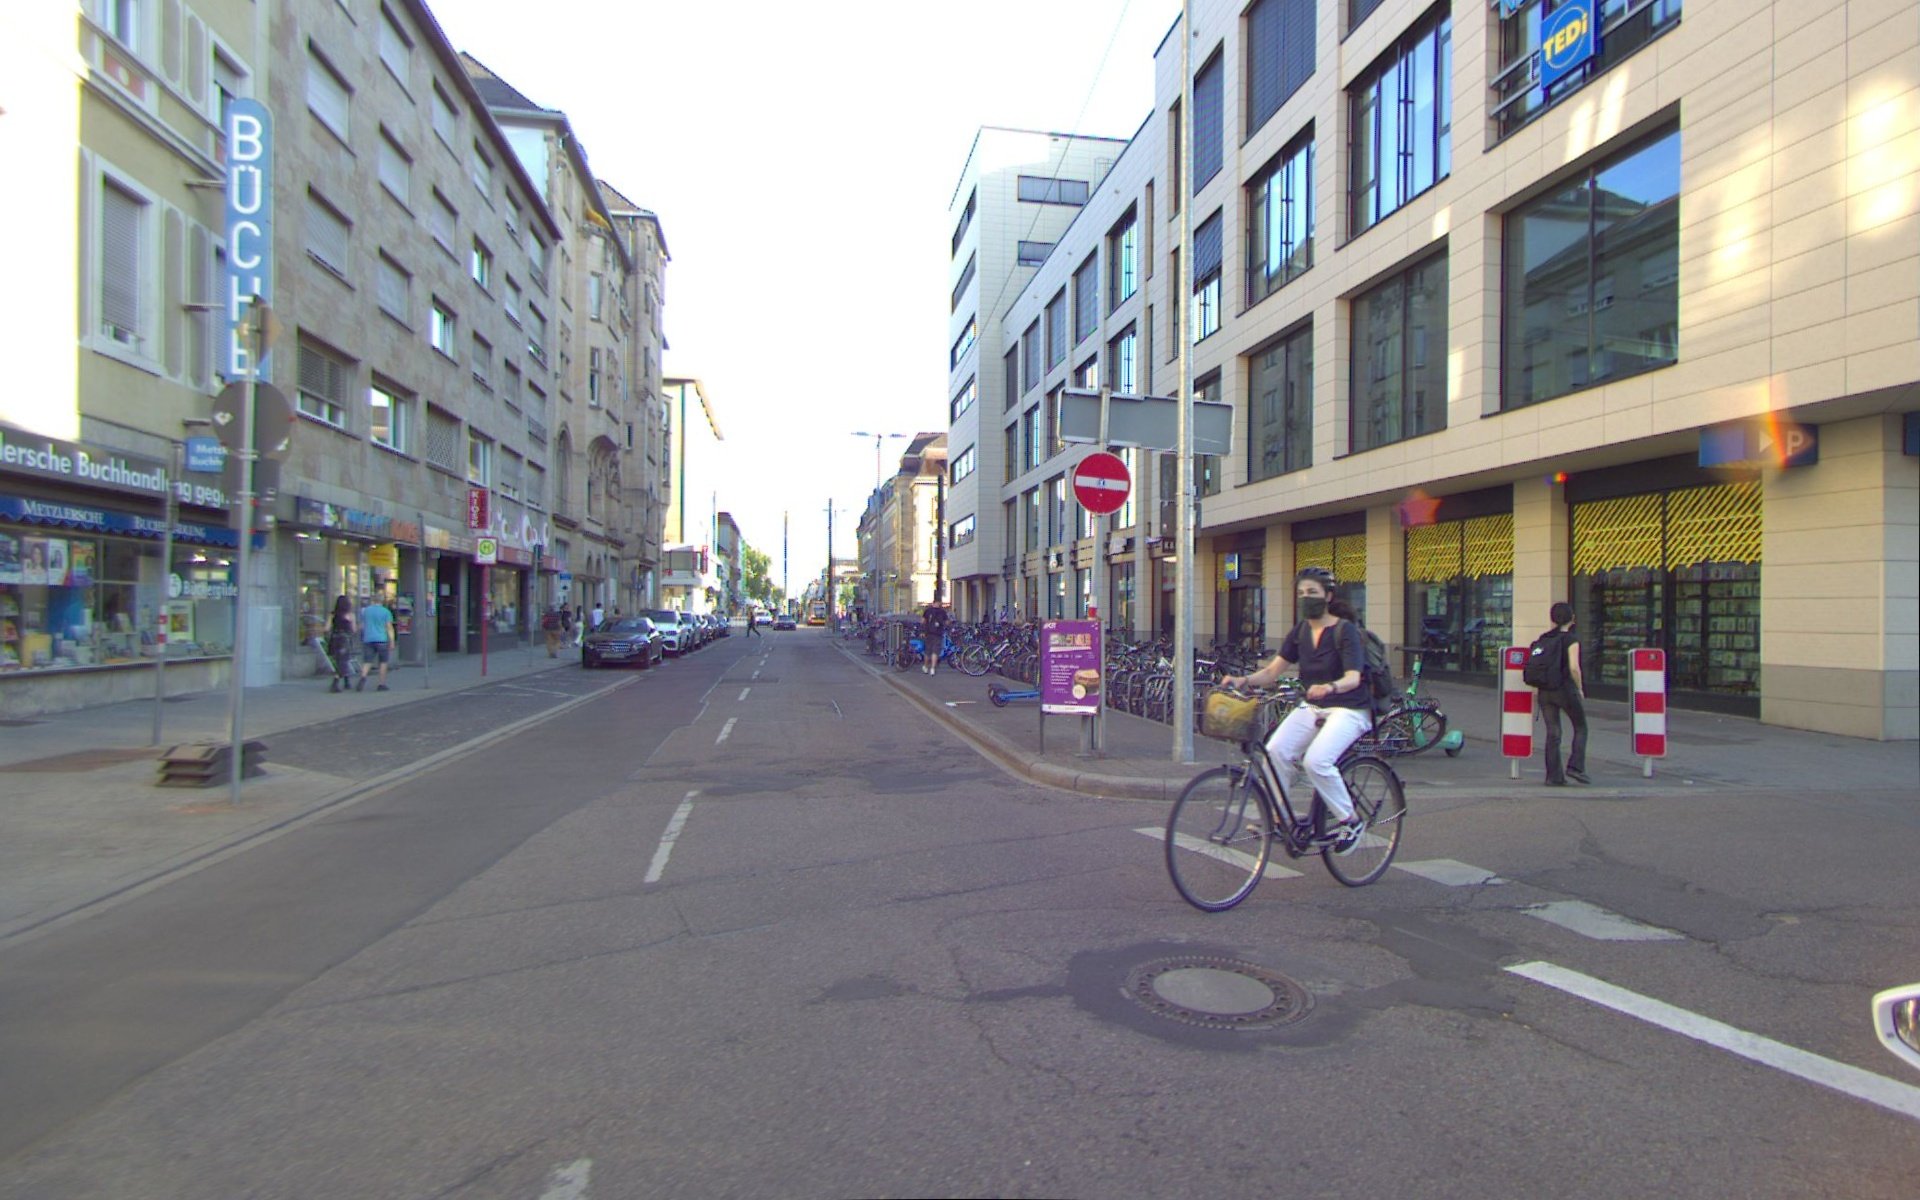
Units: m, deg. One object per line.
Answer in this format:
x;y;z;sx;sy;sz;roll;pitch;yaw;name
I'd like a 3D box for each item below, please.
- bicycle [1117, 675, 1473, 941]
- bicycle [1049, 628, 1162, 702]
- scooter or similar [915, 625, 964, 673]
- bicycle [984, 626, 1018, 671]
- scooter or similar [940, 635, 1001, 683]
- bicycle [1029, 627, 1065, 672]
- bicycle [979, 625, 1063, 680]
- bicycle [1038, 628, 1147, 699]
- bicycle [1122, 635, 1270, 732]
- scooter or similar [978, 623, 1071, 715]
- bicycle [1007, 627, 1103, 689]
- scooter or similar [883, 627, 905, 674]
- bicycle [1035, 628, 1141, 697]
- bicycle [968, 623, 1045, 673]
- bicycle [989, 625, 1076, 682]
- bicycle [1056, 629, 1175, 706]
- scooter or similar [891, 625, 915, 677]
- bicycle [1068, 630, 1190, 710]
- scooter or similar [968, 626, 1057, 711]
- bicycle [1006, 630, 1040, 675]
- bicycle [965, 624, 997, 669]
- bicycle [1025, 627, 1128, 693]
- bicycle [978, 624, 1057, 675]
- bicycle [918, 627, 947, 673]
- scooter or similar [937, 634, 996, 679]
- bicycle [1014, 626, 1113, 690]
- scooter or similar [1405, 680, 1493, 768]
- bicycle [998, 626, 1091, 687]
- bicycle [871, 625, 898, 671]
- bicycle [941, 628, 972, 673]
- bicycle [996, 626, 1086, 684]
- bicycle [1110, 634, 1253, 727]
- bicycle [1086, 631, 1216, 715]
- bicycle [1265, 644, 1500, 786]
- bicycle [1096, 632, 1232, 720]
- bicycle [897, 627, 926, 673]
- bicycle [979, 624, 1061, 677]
1.764;0.992;5.242;1.797;1.153;0.662;2;0;-26;bicycle
2.616;1.173;18.115;1.944;1.271;0.512;2;0;-12;bicycle
-0.548;1.335;27.201;1.248;1.259;0.387;1;0;-12;scooter or similar
1.227;1.440;30.341;0.504;1.271;1.974;1;-1;-12;bicycle
0.220;1.267;21.749;1.248;1.005;0.387;2;0;-12;scooter or similar
2.631;1.493;30.491;0.504;1.271;1.974;1;-1;-12;bicycle
1.473;1.261;24.313;1.944;1.271;0.512;2;0;-12;bicycle
2.465;1.187;18.703;1.944;1.271;0.512;2;0;-12;bicycle
3.251;1.148;13.859;1.944;1.271;0.512;2;0;-12;bicycle
0.920;0.990;14.386;1.248;1.277;0.387;1;0;-12;scooter or similar
2.009;1.226;21.353;1.944;1.271;0.512;2;0;-12;bicycle
-1.798;1.362;27.380;0.506;1.196;1.269;1;-1;-7;scooter or similar
2.469;1.206;19.381;1.944;1.271;0.512;2;0;-12;bicycle
1.235;1.260;26.507;1.944;1.271;0.512;2;0;-12;bicycle
1.696;1.258;23.596;1.944;1.271;0.512;2;0;-12;bicycle
2.684;1.168;17.330;1.944;1.271;0.512;2;0;-12;bicycle
-1.453;1.268;25.391;0.506;1.259;1.269;1;0;-7;scooter or similar
2.809;1.164;16.712;1.945;1.271;0.512;2;0;-14;bicycle
0.786;1.017;14.987;1.248;1.228;0.387;2;0;-12;scooter or similar
1.899;1.571;30.461;0.504;1.271;1.974;1;-1;-12;bicycle
0.615;1.378;30.185;0.504;1.271;1.974;1;-1;-12;bicycle
2.325;1.199;20.048;1.944;1.271;0.512;2;0;-12;bicycle
1.490;1.270;25.915;1.944;1.271;0.512;2;0;-12;bicycle
-0.831;1.466;29.926;0.504;1.271;1.974;1;-1;-12;bicycle
0.150;1.256;22.424;1.248;0.954;0.387;2;0;-12;scooter or similar
2.137;1.203;20.767;1.944;1.271;0.512;2;0;-12;bicycle
5.257;1.331;10.810;0.756;0.896;0.387;1;0;-12;scooter or similar
1.854;1.232;21.965;1.944;1.271;0.512;2;0;-12;bicycle
-2.246;1.393;29.754;0.504;1.271;1.974;1;-1;-12;bicycle
-0.124;1.494;30.040;0.504;1.271;1.974;1;-1;-12;bicycle
1.840;1.252;22.781;1.944;1.271;0.512;2;0;-12;bicycle
3.179;1.153;14.426;1.944;1.271;0.512;2;0;-12;bicycle
3.020;1.152;15.903;1.944;1.271;0.512;2;0;-12;bicycle
4.089;1.091;9.727;2.104;1.271;0.664;2;0;-14;bicycle
3.078;1.144;15.136;1.944;1.271;0.512;2;0;-12;bicycle
-1.457;1.453;29.755;0.504;1.271;1.974;1;-1;-12;bicycle
1.498;1.259;25.019;1.944;1.271;0.512;2;0;-12;bicycle
